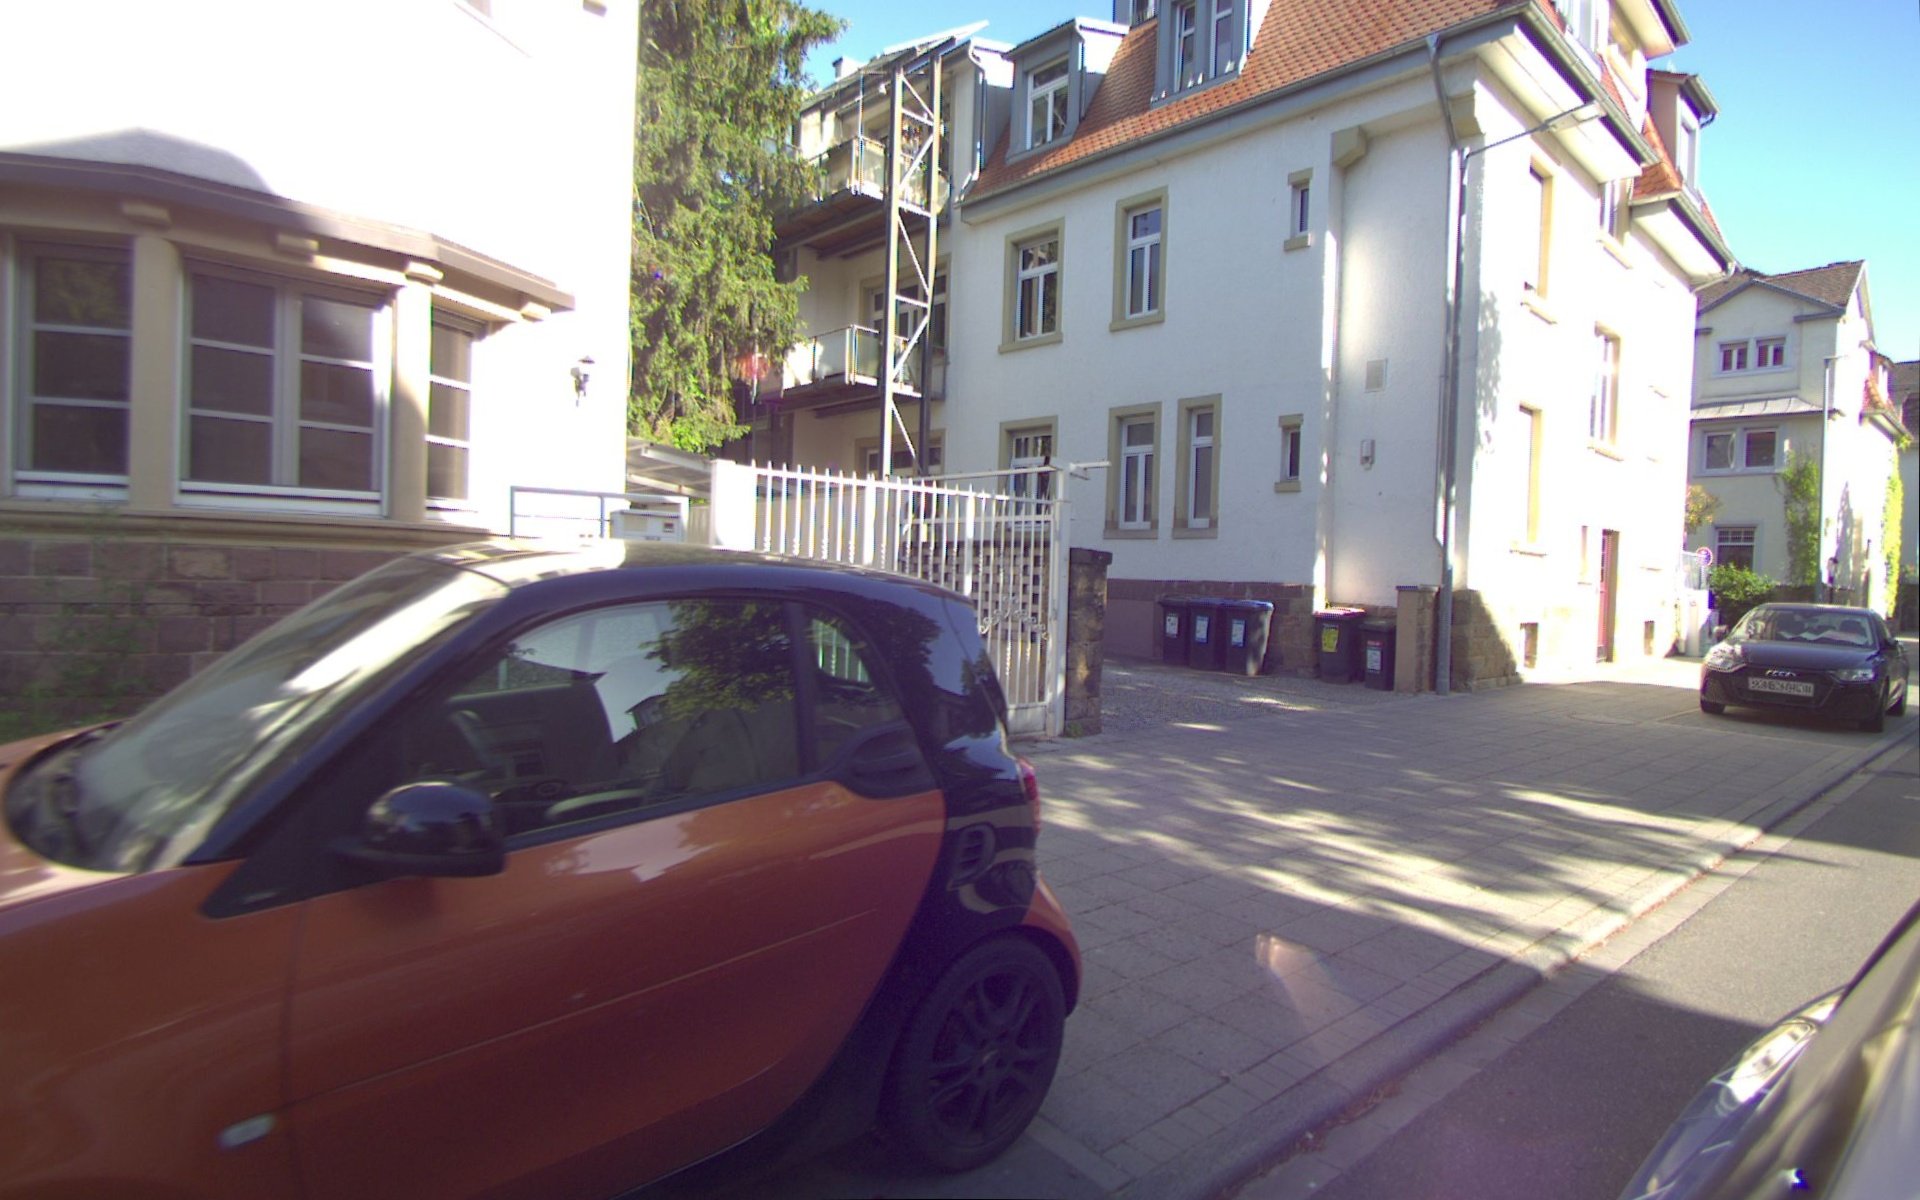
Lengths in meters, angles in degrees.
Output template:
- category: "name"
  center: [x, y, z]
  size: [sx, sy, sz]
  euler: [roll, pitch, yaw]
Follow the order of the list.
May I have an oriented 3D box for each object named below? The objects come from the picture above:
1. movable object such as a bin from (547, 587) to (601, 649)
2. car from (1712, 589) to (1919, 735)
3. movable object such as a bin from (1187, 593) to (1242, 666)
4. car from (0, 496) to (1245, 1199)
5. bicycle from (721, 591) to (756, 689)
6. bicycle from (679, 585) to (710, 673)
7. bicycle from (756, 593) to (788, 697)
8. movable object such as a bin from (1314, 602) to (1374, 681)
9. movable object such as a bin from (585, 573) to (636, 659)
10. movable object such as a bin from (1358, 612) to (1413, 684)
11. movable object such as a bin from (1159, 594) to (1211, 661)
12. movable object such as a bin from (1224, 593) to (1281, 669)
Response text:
- category: "movable object such as a bin"
  center: [-5.101, 0.228, 13.375]
  size: [0.498, 0.797, 0.555]
  euler: [-1, 0, -41]
- category: "car"
  center: [10.996, 0.672, 12.789]
  size: [3.868, 1.457, 1.623]
  euler: [0, 4, -43]
- category: "movable object such as a bin"
  center: [3.856, 0.434, 15.321]
  size: [0.644, 1.057, 0.553]
  euler: [-1, 0, -44]
- category: "car"
  center: [-0.888, 0.560, 2.642]
  size: [3.190, 1.498, 1.596]
  euler: [0, 4, -41]
- category: "bicycle"
  center: [-2.572, 0.427, 11.812]
  size: [0.306, 1.000, 1.551]
  euler: [-1, 3, -9]
- category: "bicycle"
  center: [-3.407, 0.334, 12.951]
  size: [0.306, 1.000, 1.552]
  euler: [-1, 3, -17]
- category: "bicycle"
  center: [-2.062, 0.458, 11.190]
  size: [0.306, 1.000, 1.551]
  euler: [-1, 3, -9]
- category: "movable object such as a bin"
  center: [5.489, 0.571, 14.459]
  size: [0.685, 1.076, 0.556]
  euler: [-1, 0, -44]
- category: "movable object such as a bin"
  center: [-4.876, 0.214, 14.127]
  size: [0.498, 1.165, 0.555]
  euler: [-1, 0, -41]
- category: "movable object such as a bin"
  center: [5.903, 0.657, 14.030]
  size: [0.642, 0.948, 0.486]
  euler: [-1, 0, -44]
- category: "movable object such as a bin"
  center: [3.524, 0.413, 15.834]
  size: [0.644, 1.015, 0.518]
  euler: [-1, 0, -44]
- category: "movable object such as a bin"
  center: [4.301, 0.441, 14.884]
  size: [0.644, 1.063, 0.556]
  euler: [-1, 0, -44]
